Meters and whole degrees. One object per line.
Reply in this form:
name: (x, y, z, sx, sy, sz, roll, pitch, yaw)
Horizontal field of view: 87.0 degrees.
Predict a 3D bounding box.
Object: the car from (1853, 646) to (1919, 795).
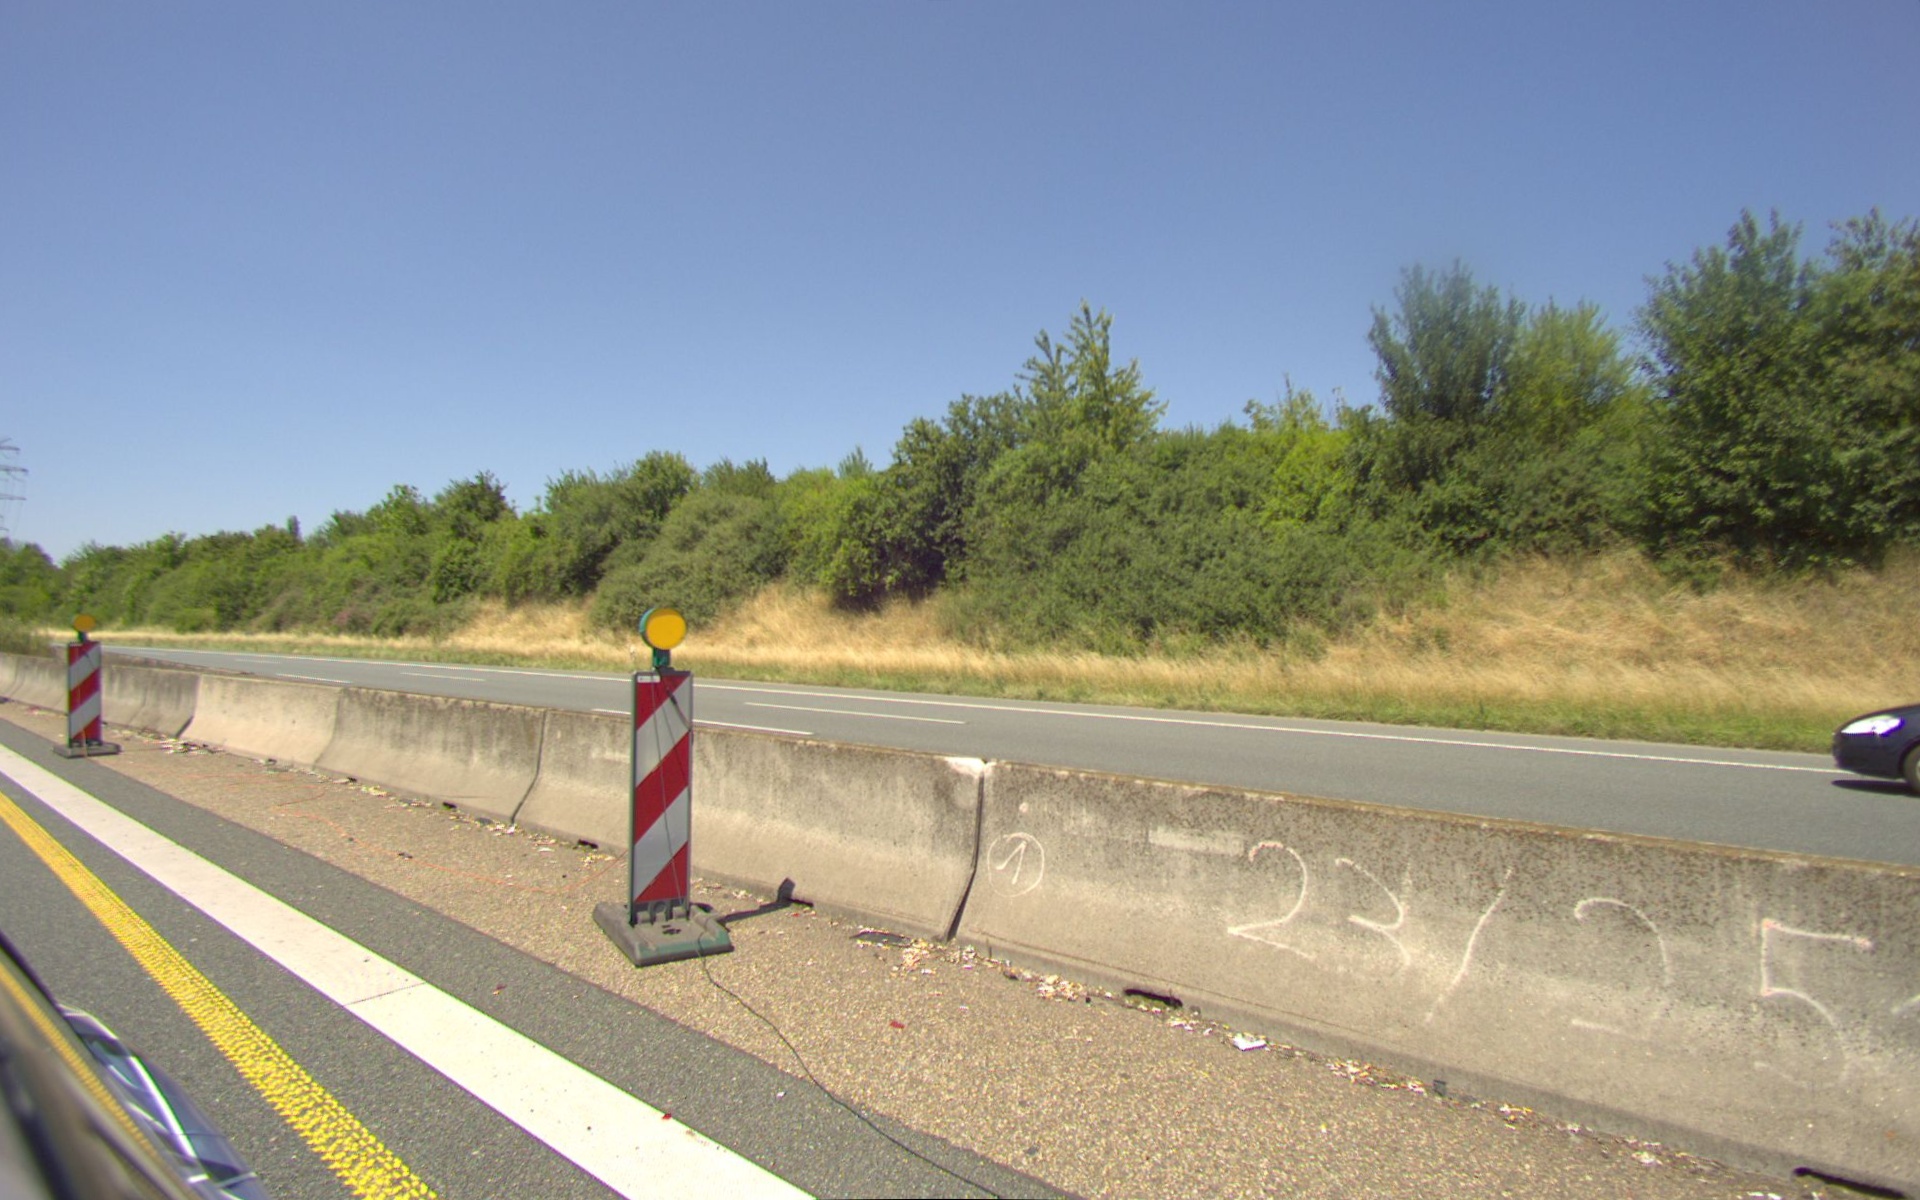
car: (11.297, 1.225, 9.818, 3.846, 1.475, 1.691, -1, -3, 39)
